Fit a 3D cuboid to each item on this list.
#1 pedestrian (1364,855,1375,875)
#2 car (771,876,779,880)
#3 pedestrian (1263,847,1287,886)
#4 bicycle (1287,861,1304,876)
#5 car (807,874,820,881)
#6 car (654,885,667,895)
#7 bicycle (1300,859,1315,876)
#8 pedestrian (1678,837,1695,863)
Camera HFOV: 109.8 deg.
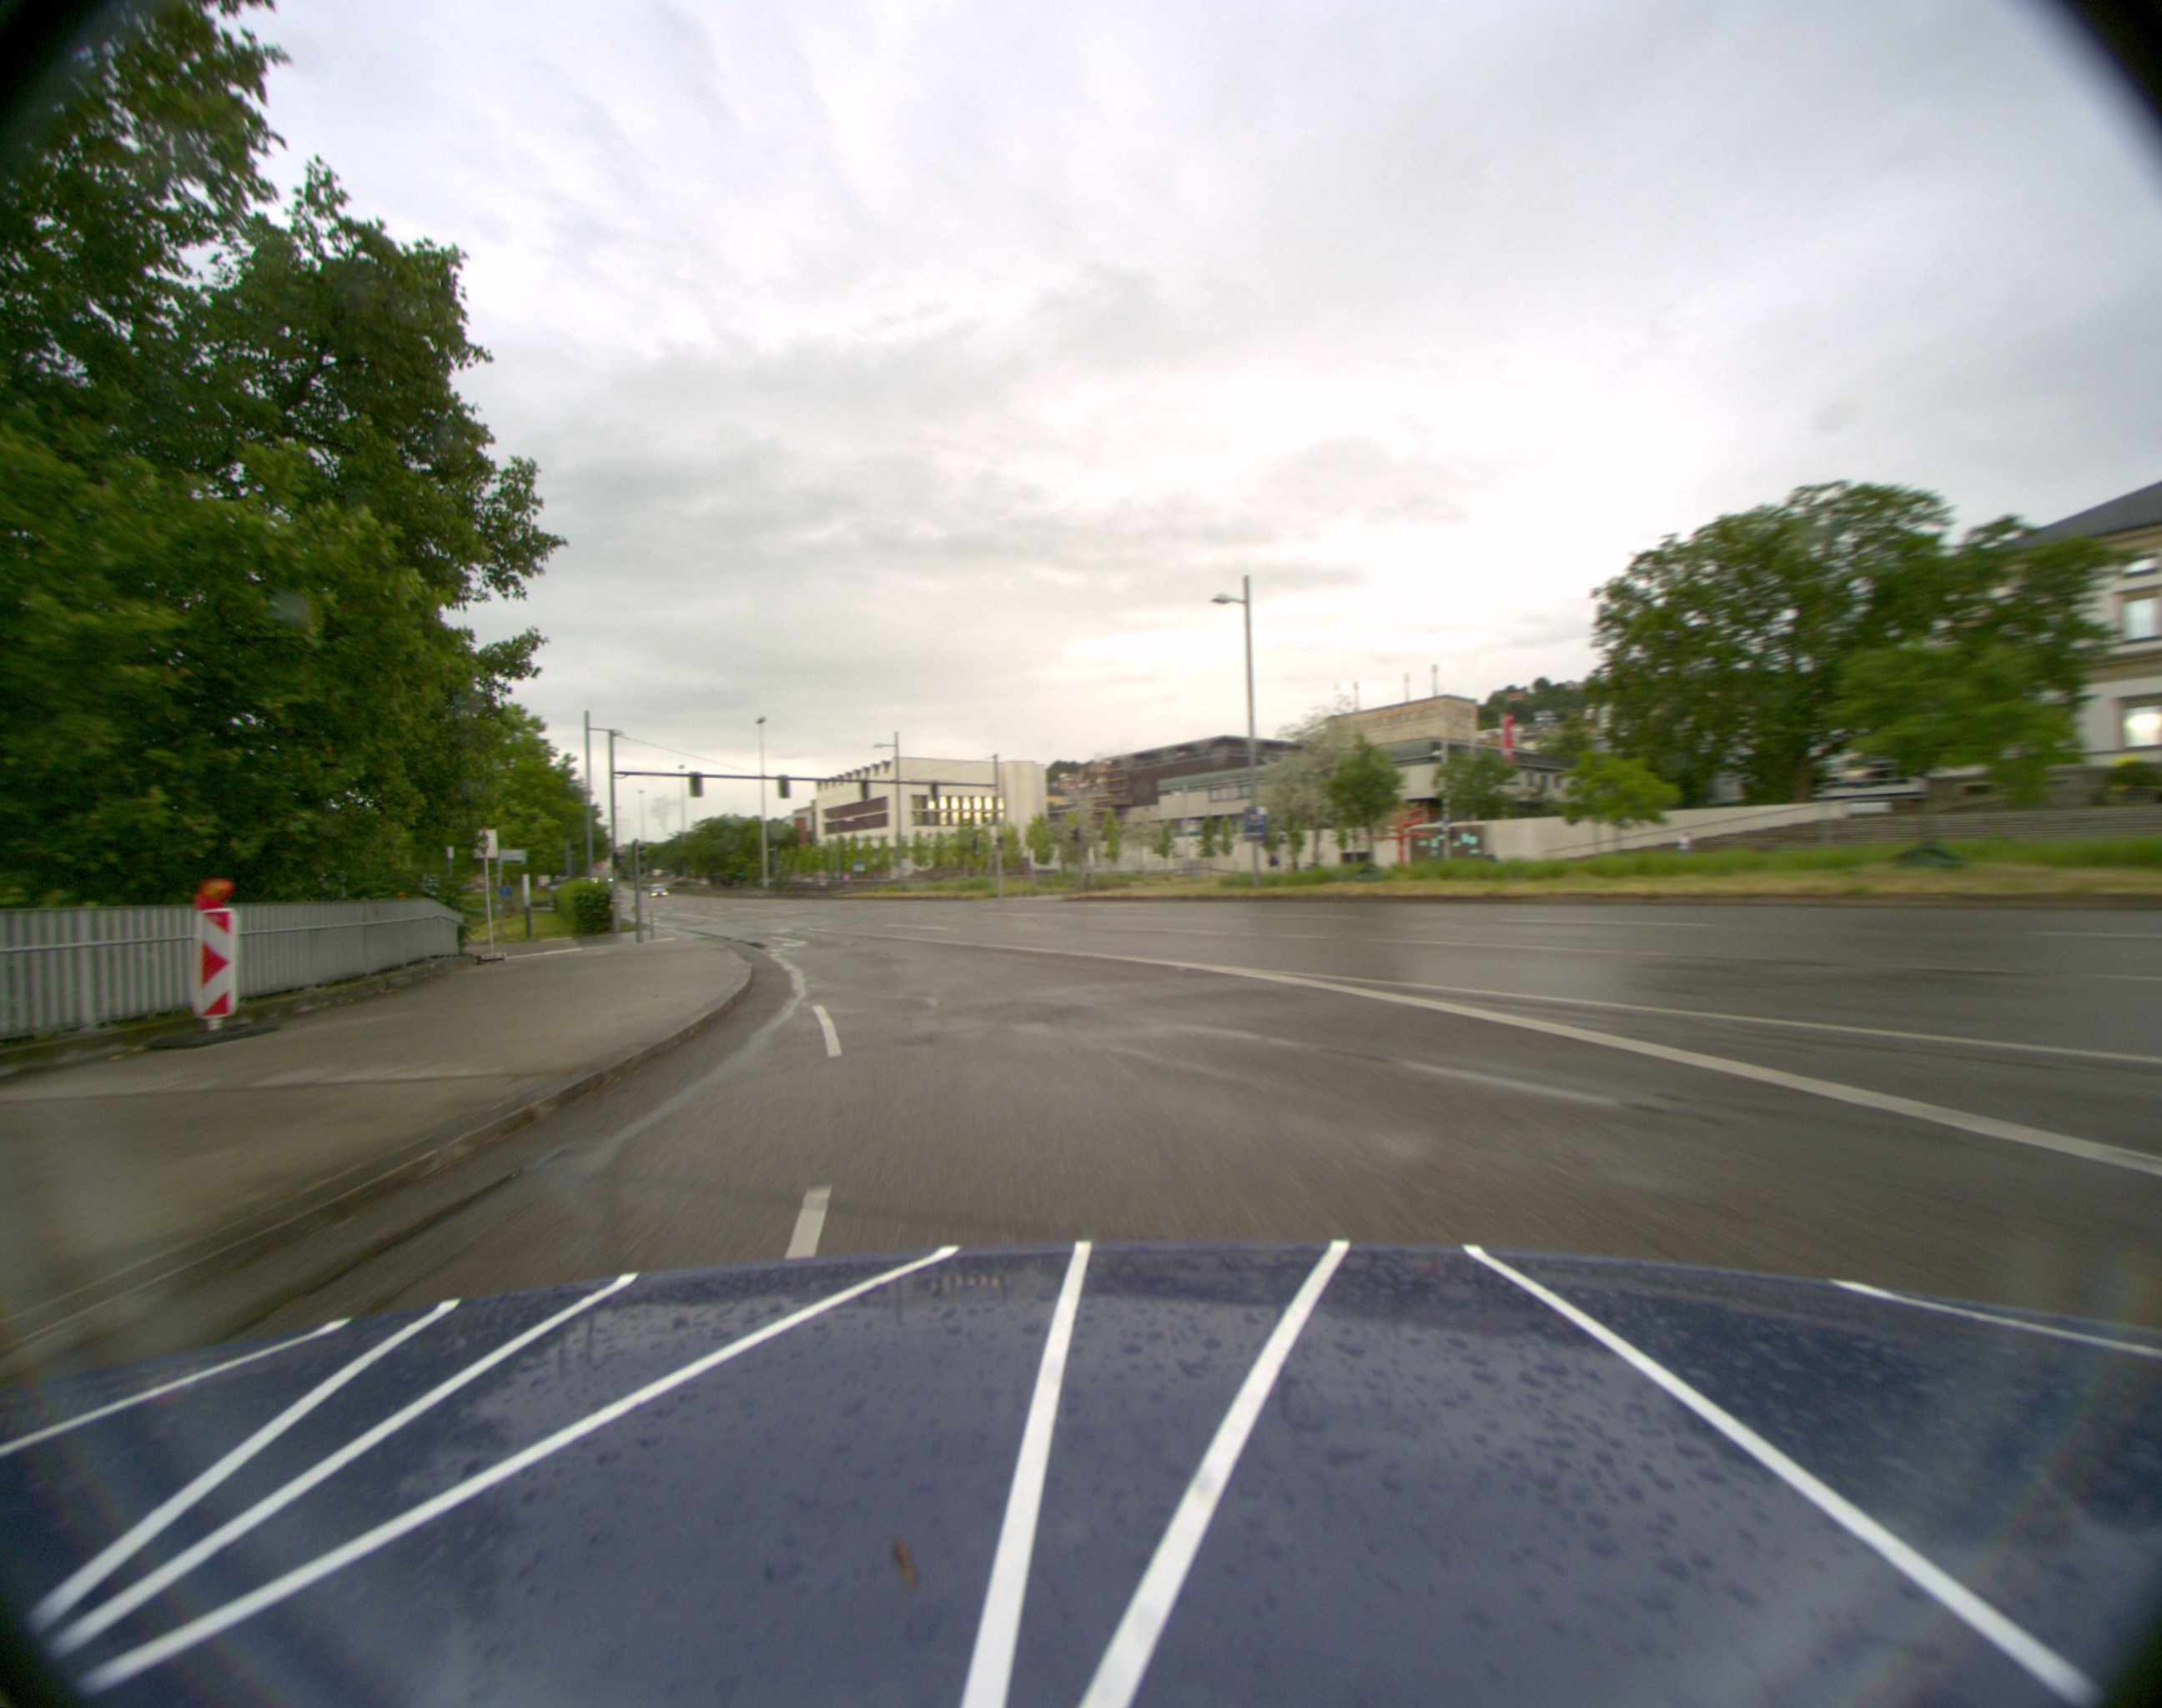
[{"bbox_3d":[21.010,0.792,55.292,0.469,1.375,0.576,-4,2,-23],"label":"pedestrian"},{"bbox_3d":[-64.658,4.992,160.544,0.823,0.741,2.547,-4,2,-39],"label":"car"},{"bbox_3d":[10.879,0.675,42.556,0.771,2.078,0.725,-4,-4,-36],"label":"pedestrian"},{"bbox_3d":[17.808,1.212,62.989,1.706,1.155,0.529,-4,2,-43],"label":"bicycle"},{"bbox_3d":[-51.750,4.574,147.151,1.447,1.108,3.013,-4,2,-39],"label":"car"},{"bbox_3d":[-60.630,5.182,109.562,1.521,1.138,2.754,-4,2,-31],"label":"car"},{"bbox_3d":[18.233,1.090,61.077,0.556,1.300,1.484,-1,2,41],"label":"bicycle"},{"bbox_3d":[33.687,-0.244,42.287,0.494,1.415,0.631,-4,2,-39],"label":"pedestrian"}]
